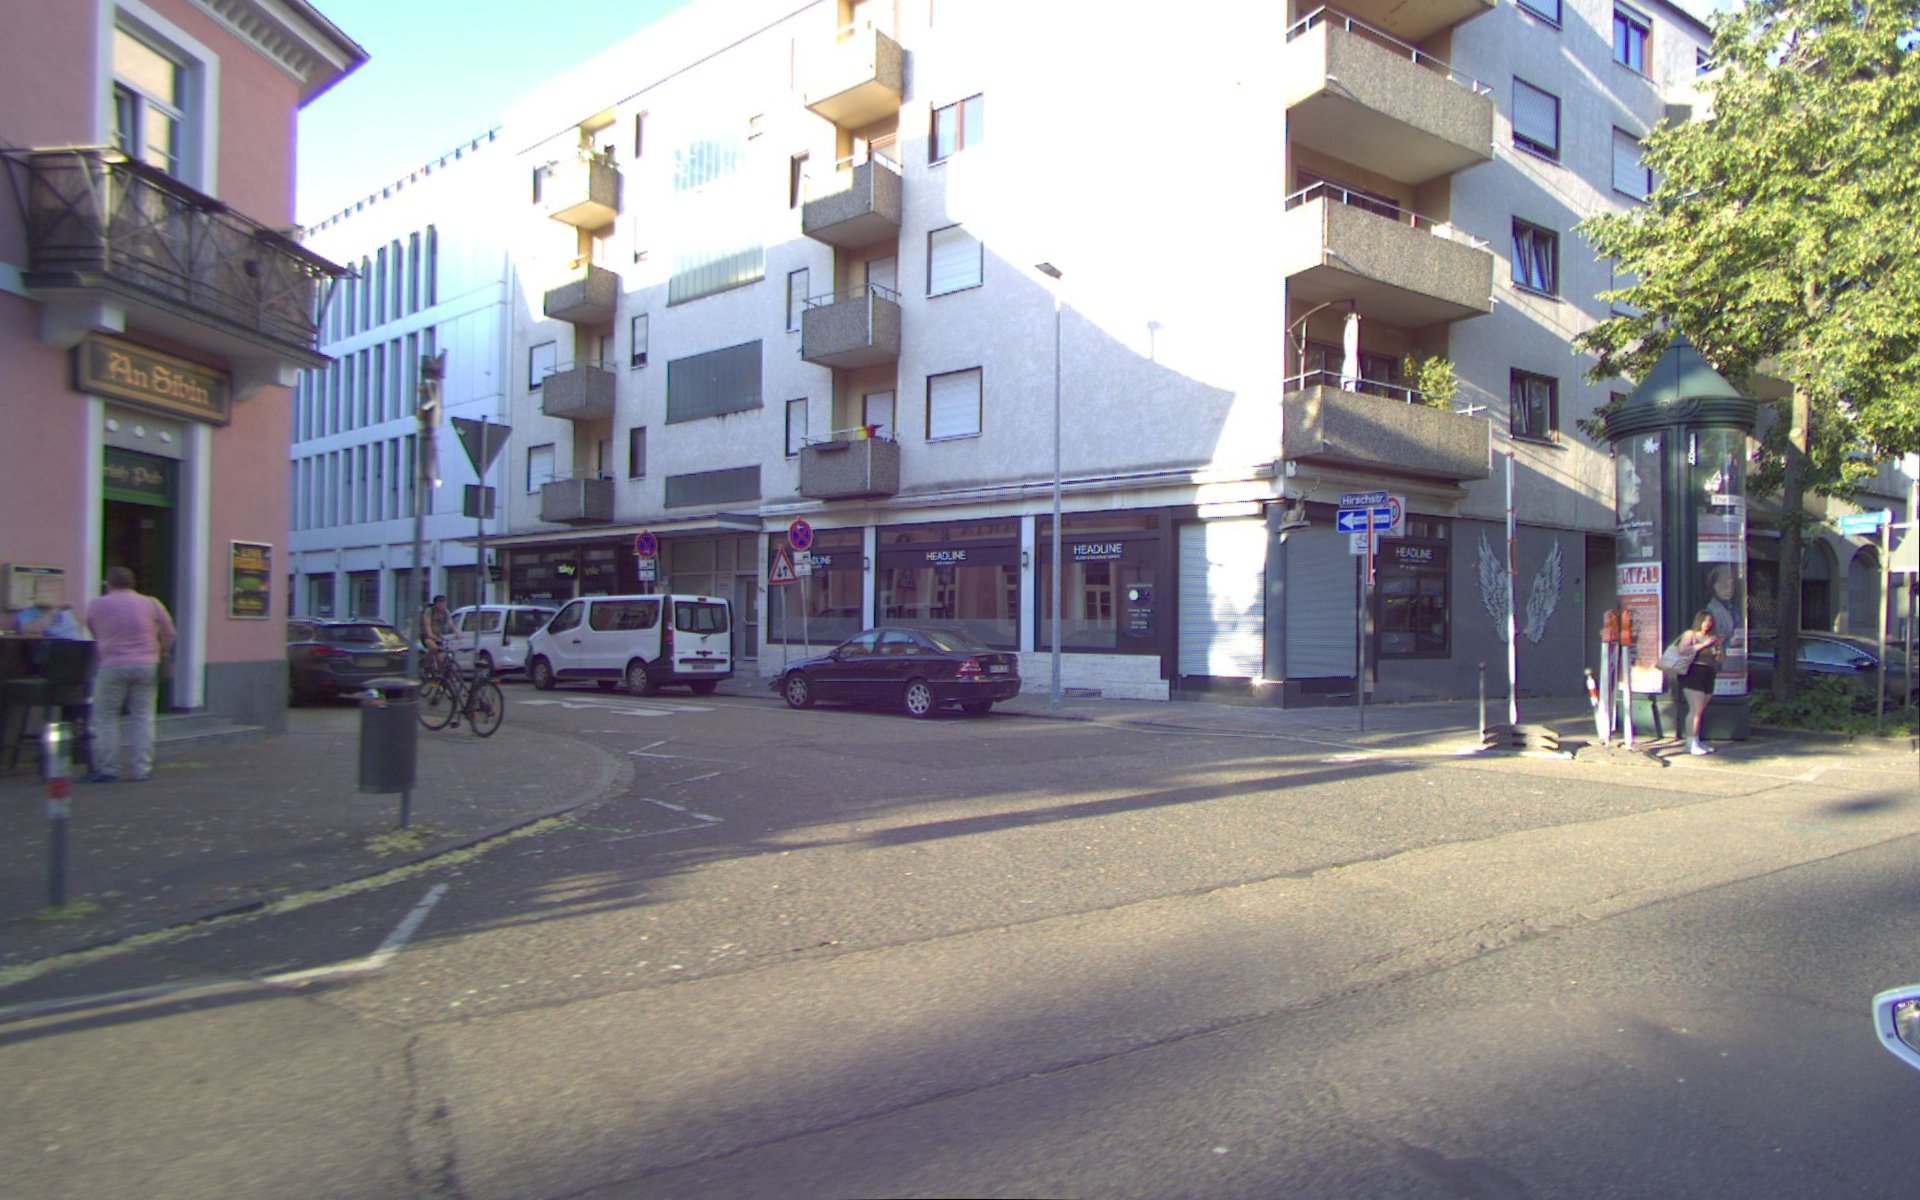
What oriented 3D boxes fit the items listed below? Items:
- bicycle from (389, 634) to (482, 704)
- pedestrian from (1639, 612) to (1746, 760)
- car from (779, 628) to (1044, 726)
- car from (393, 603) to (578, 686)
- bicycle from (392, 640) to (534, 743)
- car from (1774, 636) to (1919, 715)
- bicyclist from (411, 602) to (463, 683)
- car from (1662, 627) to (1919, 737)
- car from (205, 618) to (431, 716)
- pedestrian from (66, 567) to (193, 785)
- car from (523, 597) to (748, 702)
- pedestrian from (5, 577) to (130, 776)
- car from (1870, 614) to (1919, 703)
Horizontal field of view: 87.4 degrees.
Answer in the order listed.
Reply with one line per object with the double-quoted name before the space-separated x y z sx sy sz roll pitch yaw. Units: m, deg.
"bicycle" -9.790 1.255 18.713 2.089 1.209 0.584 0 0 33
"pedestrian" 8.800 1.005 12.079 0.821 1.708 0.709 1 -1 -21
"car" -0.878 1.200 16.830 4.142 1.398 1.992 0 -2 38
"car" -11.814 1.079 24.939 4.451 1.891 2.066 0 -3 33
"bicycle" -6.479 1.161 13.079 1.906 1.208 0.585 1 -2 27
"car" 18.615 1.488 19.584 2.017 1.410 3.778 3 -1 -26
"bicyclist" -9.719 0.774 18.668 0.731 1.477 0.584 0 0 33
"car" 14.354 1.273 16.320 1.790 1.562 4.524 2 -1 -30
"car" -11.344 1.077 17.641 4.458 1.490 1.990 0 -1 38
"pedestrian" -7.037 0.635 8.535 0.715 1.760 0.500 4 -3 -40
"car" -6.789 0.983 20.926 4.451 1.971 2.066 0 -3 33
"pedestrian" -7.875 0.664 8.894 0.715 1.671 0.500 4 -3 -40
"car" 23.040 1.334 21.781 1.967 1.987 4.550 2 -1 -30
